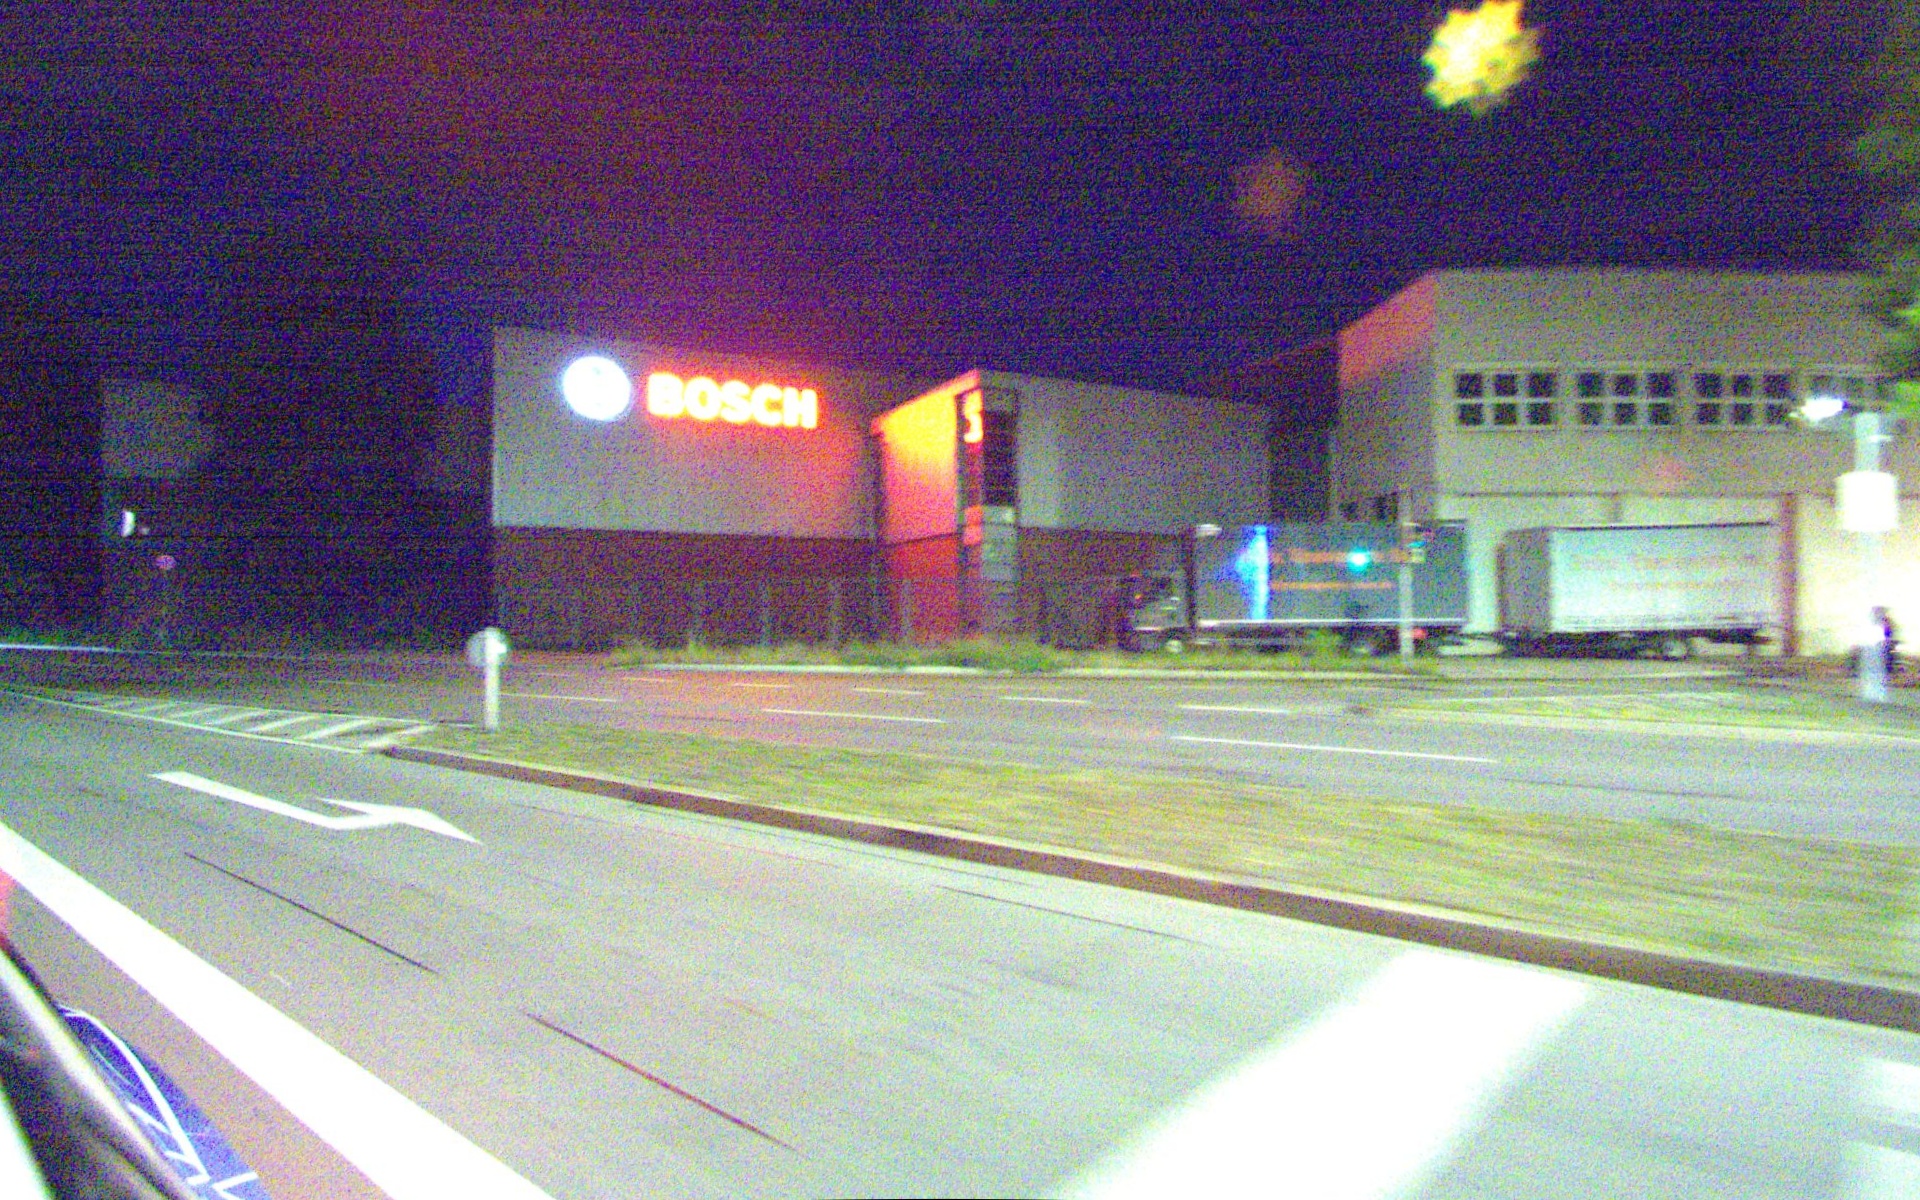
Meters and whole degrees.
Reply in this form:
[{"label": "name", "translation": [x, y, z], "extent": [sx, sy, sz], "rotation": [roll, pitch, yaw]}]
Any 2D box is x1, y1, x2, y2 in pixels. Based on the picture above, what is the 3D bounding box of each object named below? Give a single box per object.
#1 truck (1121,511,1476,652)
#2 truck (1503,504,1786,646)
[{"label": "truck", "translation": [9.302, -0.484, 28.615], "extent": [9.242, 3.750, 1.997], "rotation": [-1, 0, 6]}, {"label": "truck", "translation": [18.962, -0.664, 28.314], "extent": [6.124, 3.721, 2.400], "rotation": [-1, 0, 2]}]
